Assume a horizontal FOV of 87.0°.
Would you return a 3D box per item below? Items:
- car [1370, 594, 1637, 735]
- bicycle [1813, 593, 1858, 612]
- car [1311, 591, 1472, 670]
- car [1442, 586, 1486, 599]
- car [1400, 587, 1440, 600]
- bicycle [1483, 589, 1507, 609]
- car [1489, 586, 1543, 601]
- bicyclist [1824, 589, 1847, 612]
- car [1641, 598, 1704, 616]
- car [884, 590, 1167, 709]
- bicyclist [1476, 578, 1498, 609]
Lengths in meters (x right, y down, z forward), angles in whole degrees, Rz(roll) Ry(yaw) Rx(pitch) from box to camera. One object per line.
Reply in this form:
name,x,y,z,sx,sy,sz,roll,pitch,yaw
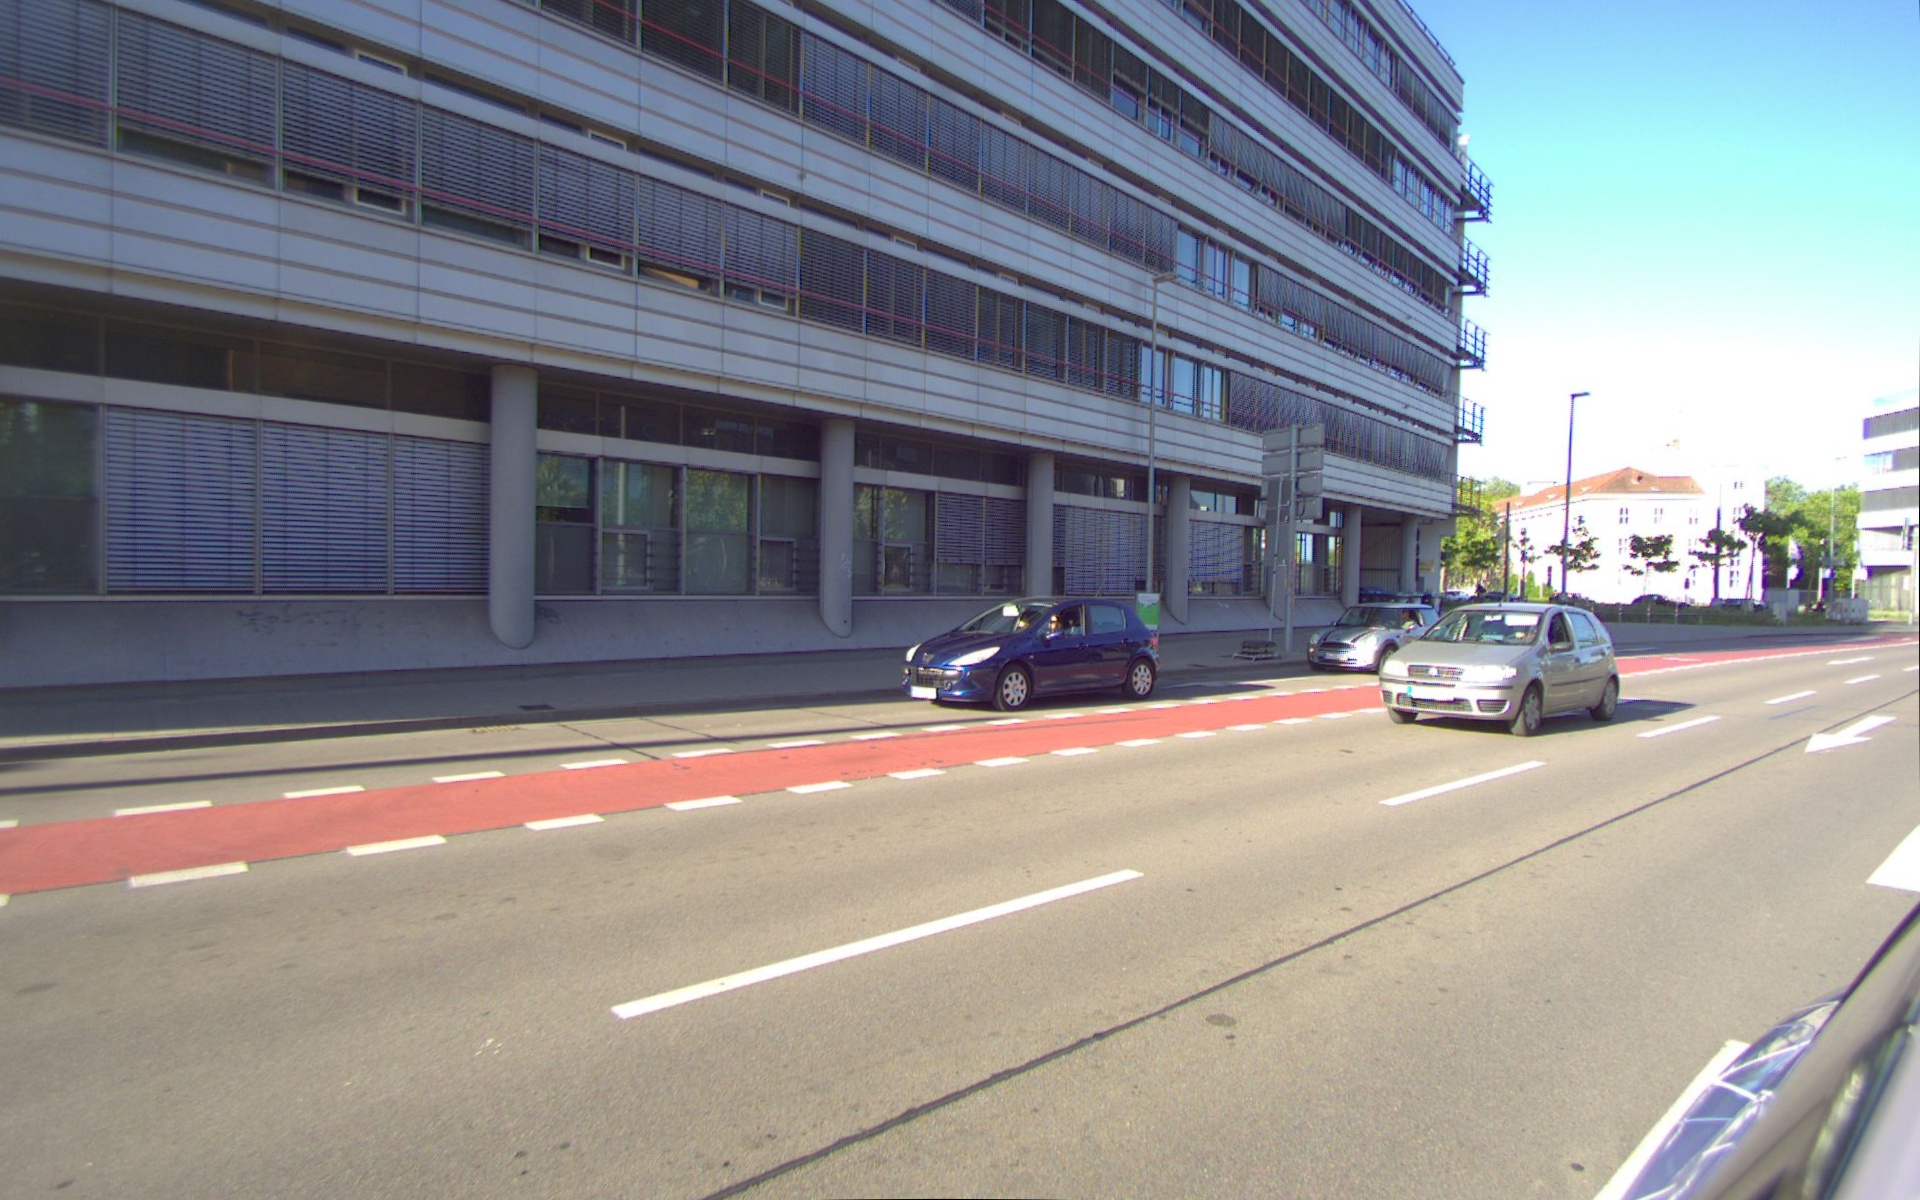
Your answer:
car,6.713,0.657,12.355,3.700,1.447,1.620,0,1,-40
bicycle,64.878,0.207,75.013,0.932,1.328,2.376,0,1,-27
car,8.994,0.558,20.951,3.929,1.463,1.438,0,2,-40
car,54.200,-0.788,108.886,1.958,1.259,4.009,0,1,-19
car,52.137,-0.728,114.678,1.894,1.393,4.009,0,1,-17
bicycle,28.985,-0.064,54.811,1.672,1.070,0.505,-1,4,-40
car,56.465,-0.665,102.838,1.958,1.439,4.536,0,1,-22
bicyclist,64.885,0.045,75.032,0.862,1.627,1.009,0,1,-27
car,61.954,0.562,88.075,1.958,1.439,4.009,0,1,-21
car,1.016,0.591,14.376,3.929,1.464,1.735,0,1,-40
bicyclist,28.571,-0.374,54.889,0.973,1.638,0.685,0,1,-39
